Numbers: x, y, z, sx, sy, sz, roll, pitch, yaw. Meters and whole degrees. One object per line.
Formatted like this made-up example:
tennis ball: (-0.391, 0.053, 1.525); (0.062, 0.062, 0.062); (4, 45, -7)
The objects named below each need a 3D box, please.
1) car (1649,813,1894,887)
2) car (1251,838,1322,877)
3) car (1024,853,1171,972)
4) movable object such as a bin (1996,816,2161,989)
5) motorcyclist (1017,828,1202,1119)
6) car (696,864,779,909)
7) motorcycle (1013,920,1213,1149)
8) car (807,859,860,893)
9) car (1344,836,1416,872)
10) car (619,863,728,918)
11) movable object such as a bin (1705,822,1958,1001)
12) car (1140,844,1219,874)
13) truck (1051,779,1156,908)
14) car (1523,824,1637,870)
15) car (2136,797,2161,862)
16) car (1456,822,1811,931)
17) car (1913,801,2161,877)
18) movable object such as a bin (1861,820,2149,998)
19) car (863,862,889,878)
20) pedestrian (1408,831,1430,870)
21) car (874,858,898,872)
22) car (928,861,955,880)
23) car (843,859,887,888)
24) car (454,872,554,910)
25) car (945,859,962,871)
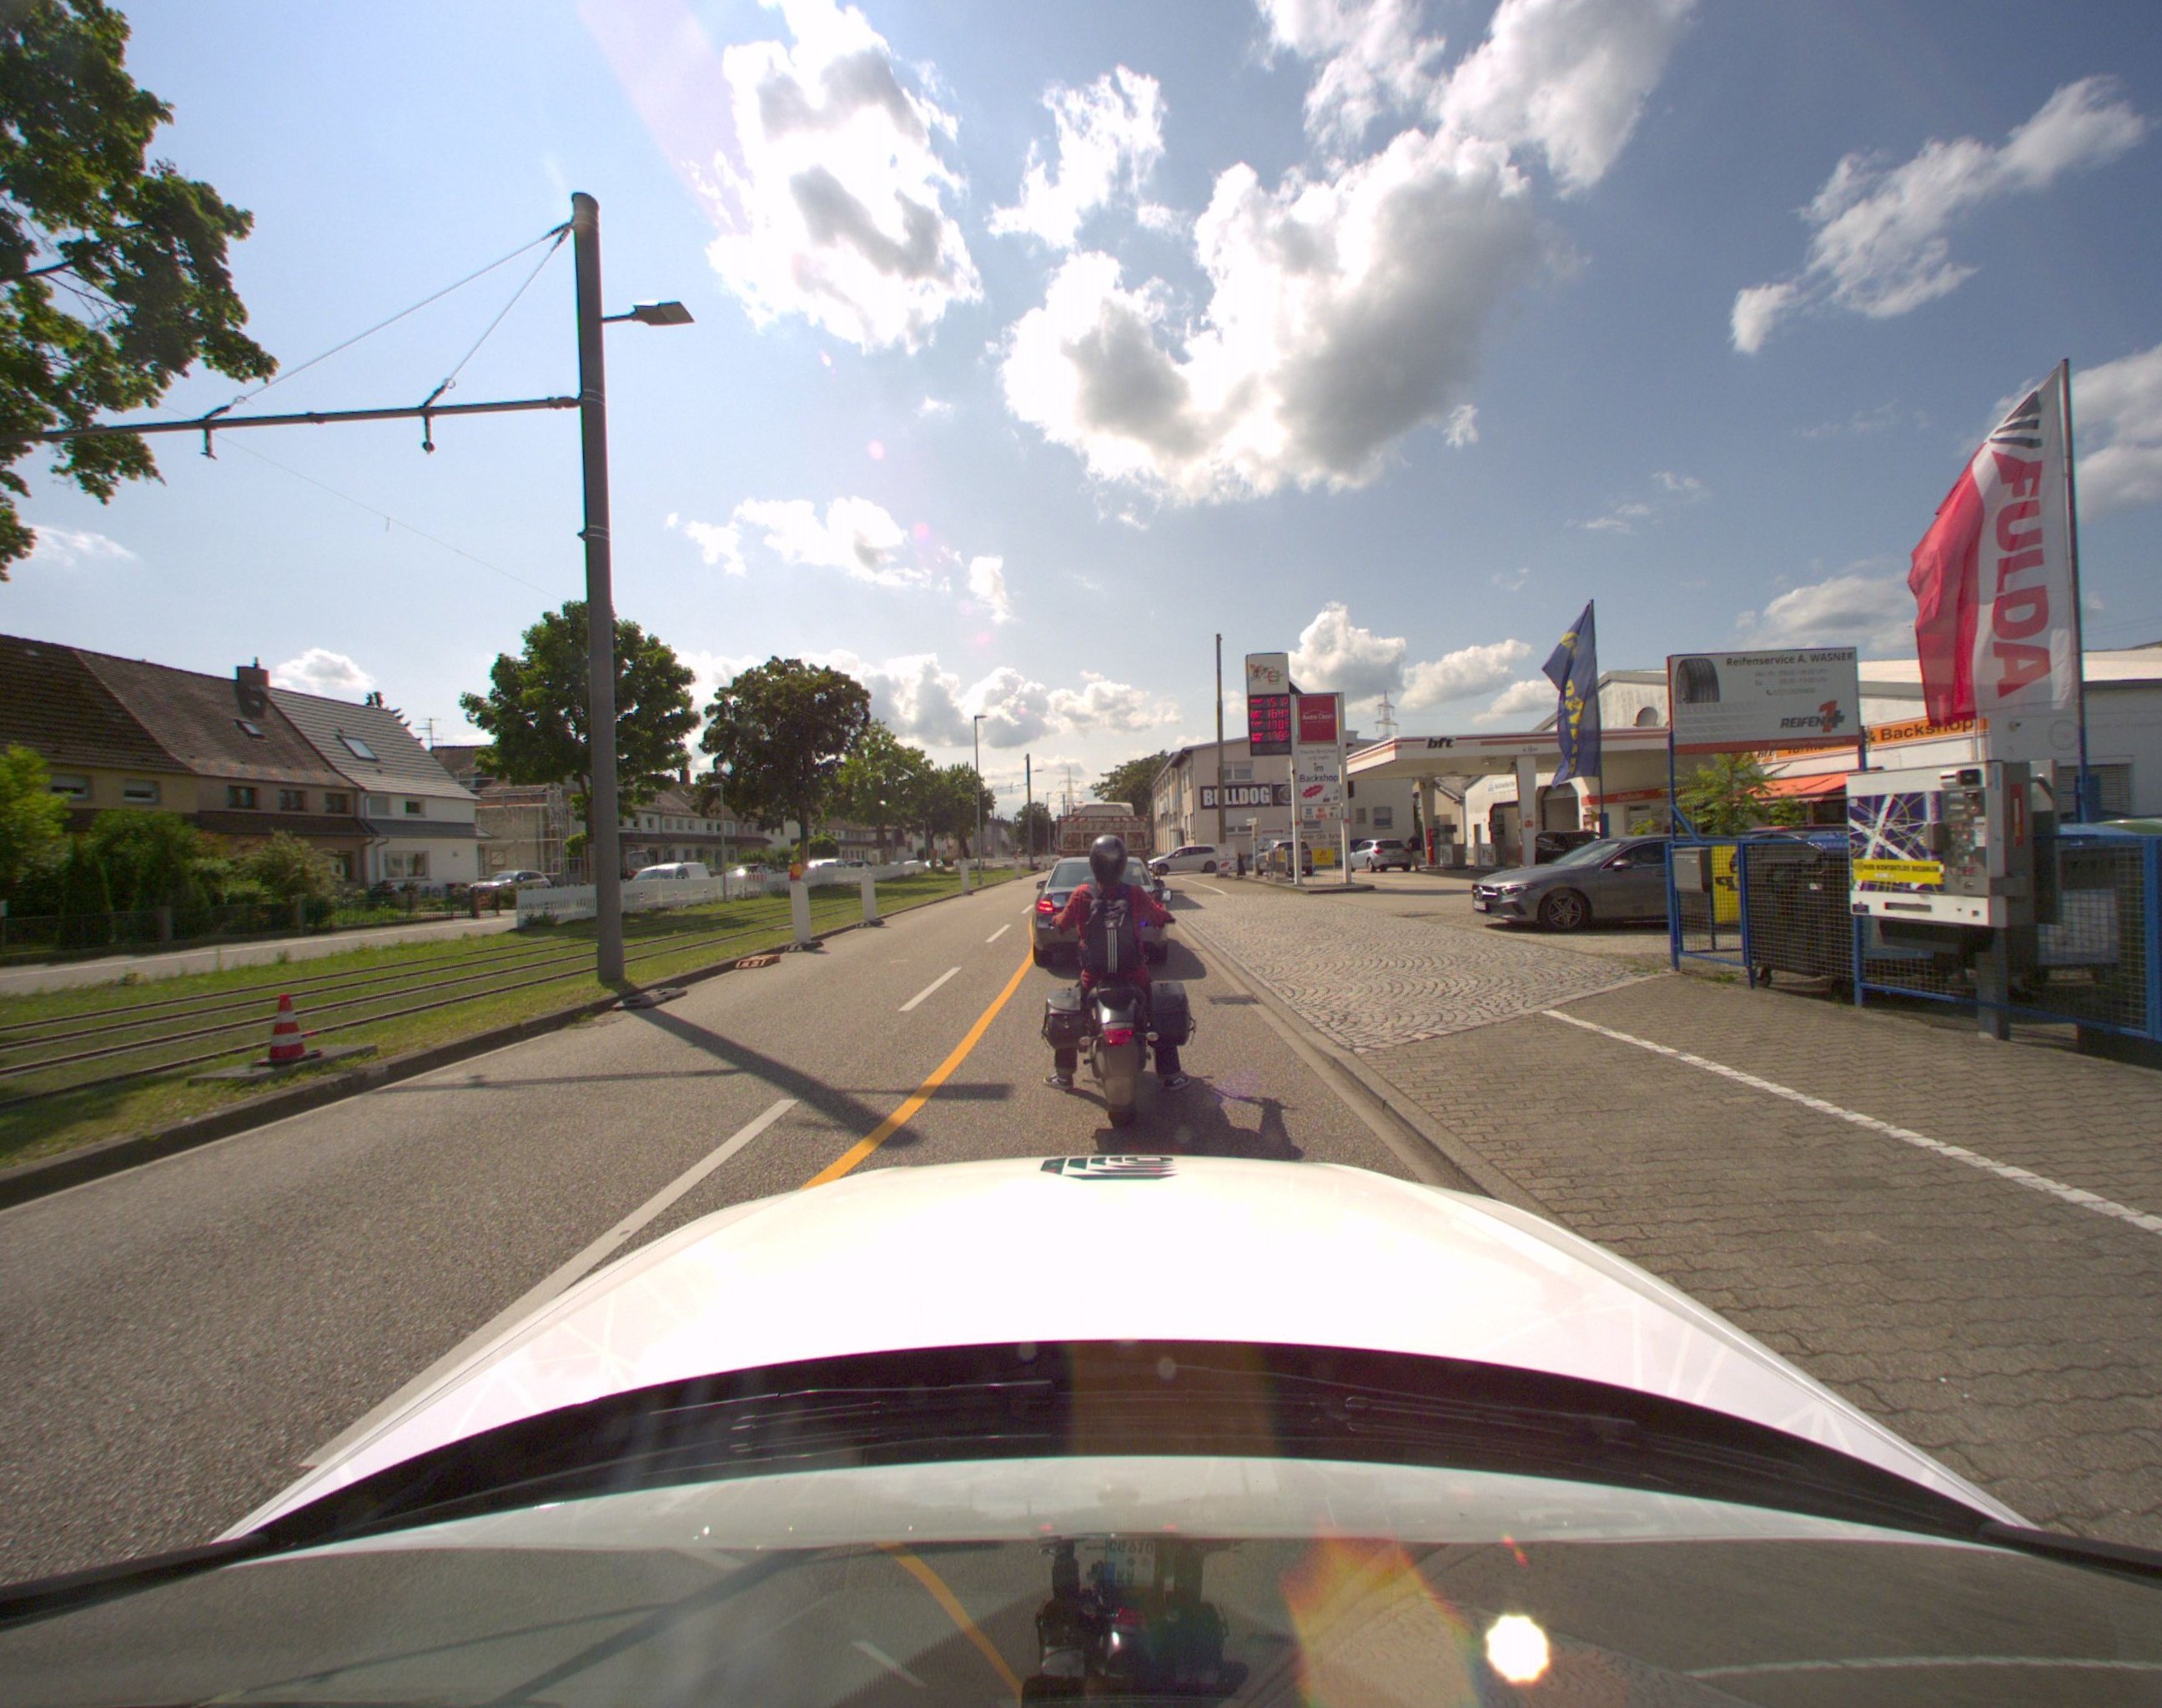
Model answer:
car: (15.773, -0.089, 18.760); (4.180, 1.463, 1.587); (-2, 0, 2)
car: (9.115, 0.150, 36.456); (1.665, 1.562, 4.235); (-2, 0, -6)
car: (0.267, 0.731, 12.131); (1.816, 1.452, 4.002); (0, 0, 2)
movable object such as a bin: (9.485, 0.373, 7.133); (1.397, 1.396, 1.338); (-2, 0, 1)
motorcyclist: (0.179, 0.674, 5.144); (0.975, 1.602, 1.088); (-2, 0, 1)
car: (-15.408, 1.410, 36.801); (1.769, 1.774, 4.230); (-2, 0, 2)
motorcycle: (0.203, 1.022, 5.448); (0.975, 0.897, 2.654); (-2, 0, 2)
car: (-15.066, 1.327, 49.863); (1.769, 1.867, 4.130); (-2, 0, 2)
car: (13.475, -0.008, 36.922); (1.800, 1.503, 3.832); (-2, 0, -1)
car: (-15.443, 1.314, 31.158); (1.769, 1.821, 4.366); (-2, 0, 2)
movable object such as a bin: (6.688, 0.476, 7.361); (1.104, 1.436, 1.244); (-2, 0, 1)
car: (5.654, 0.293, 47.033); (4.225, 1.543, 1.669); (-2, 0, -7)
truck: (0.726, -0.289, 25.503); (2.628, 3.296, 8.059); (-2, 0, 2)
car: (18.118, -0.247, 29.787); (1.800, 1.503, 3.833); (-2, 0, 0)
car: (26.525, -0.637, 18.005); (4.180, 1.463, 1.587); (-2, 0, 2)
car: (8.340, 0.329, 12.613); (4.252, 1.415, 1.676); (-2, 0, 5)
car: (21.521, -0.340, 18.168); (4.180, 1.463, 1.587); (-2, 0, 2)
movable object such as a bin: (8.082, 0.443, 7.221); (1.104, 1.396, 1.244); (-2, 0, 1)
car: (-24.391, 1.840, 97.044); (1.769, 1.722, 4.130); (-2, 0, 2)
pedestrian: (14.651, -0.131, 35.321); (0.701, 1.656, 0.551); (-2, 0, 37)
car: (-25.163, 1.403, 105.205); (1.769, 1.722, 4.130); (-2, 0, 2)
car: (-13.731, 1.633, 80.457); (1.769, 1.722, 4.130); (-2, 0, 2)
car: (-14.806, 1.335, 56.041); (1.769, 1.805, 4.130); (-2, 0, 2)
car: (-27.439, 1.724, 38.896); (1.769, 1.519, 4.002); (-2, 0, 2)
car: (-19.637, 1.638, 125.919); (1.769, 1.722, 4.130); (-2, 0, 2)
